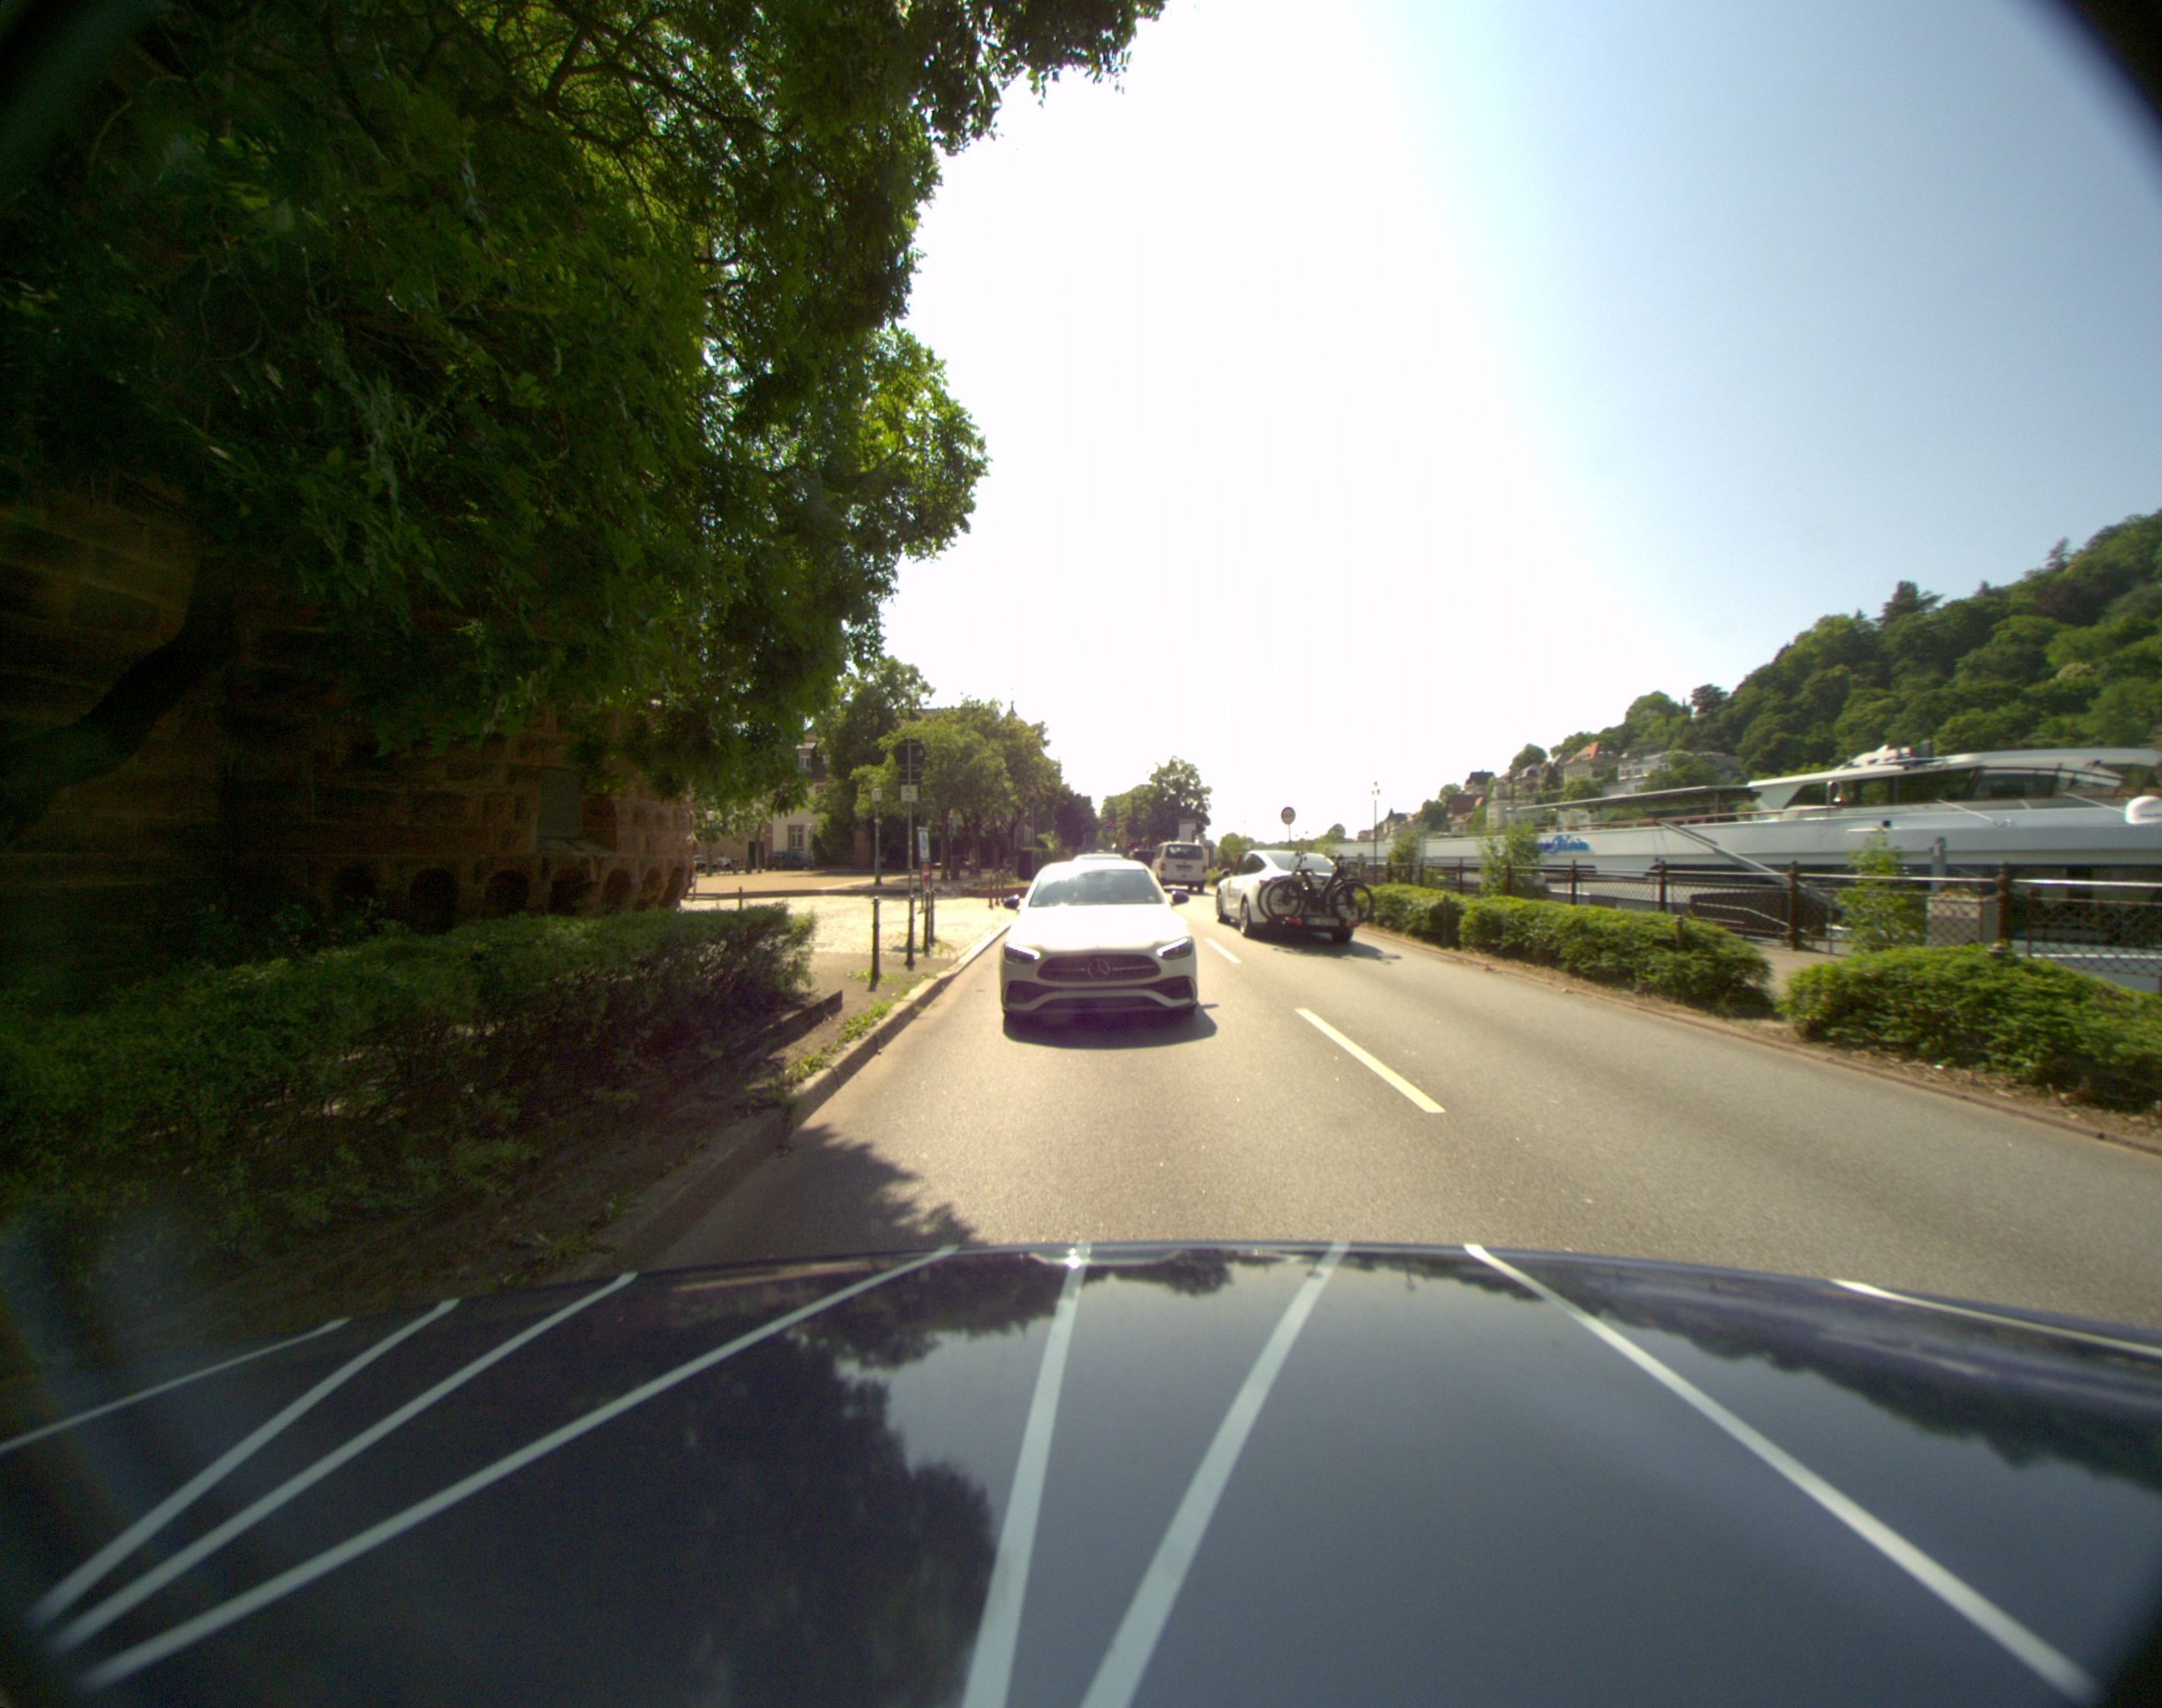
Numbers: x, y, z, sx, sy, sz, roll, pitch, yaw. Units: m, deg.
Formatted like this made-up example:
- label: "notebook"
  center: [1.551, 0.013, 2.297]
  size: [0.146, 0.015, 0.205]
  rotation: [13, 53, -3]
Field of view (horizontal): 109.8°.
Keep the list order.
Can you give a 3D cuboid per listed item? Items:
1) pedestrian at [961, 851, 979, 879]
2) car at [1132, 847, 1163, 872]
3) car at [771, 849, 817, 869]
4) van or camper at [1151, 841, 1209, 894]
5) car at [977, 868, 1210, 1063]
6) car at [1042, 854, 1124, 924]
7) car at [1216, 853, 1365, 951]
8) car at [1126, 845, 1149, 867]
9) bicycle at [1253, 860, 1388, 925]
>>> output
- label: "pedestrian"
  center: [-4.936, 0.481, 33.760]
  size: [0.632, 1.186, 0.747]
  rotation: [-2, 1, 3]
- label: "car"
  center: [4.614, 0.336, 53.224]
  size: [1.826, 1.605, 3.959]
  rotation: [2, 1, 1]
- label: "car"
  center: [-24.295, 0.410, 64.422]
  size: [3.237, 1.572, 1.752]
  rotation: [1, 0, -1]
- label: "van or camper"
  center: [3.986, 0.476, 31.052]
  size: [1.922, 1.976, 4.000]
  rotation: [1, 1, 2]
- label: "car"
  center: [0.129, 0.929, 8.228]
  size: [1.829, 1.418, 4.358]
  rotation: [-1, 0, 1]
- label: "car"
  center: [0.088, 0.802, 19.269]
  size: [1.854, 1.543, 3.848]
  rotation: [1, 0, 1]
- label: "car"
  center: [3.846, 0.801, 14.688]
  size: [1.826, 1.603, 3.960]
  rotation: [1, 0, 1]
- label: "car"
  center: [5.381, 0.169, 72.932]
  size: [1.998, 2.002, 4.000]
  rotation: [1, 0, 1]
- label: "bicycle"
  center: [3.813, 0.607, 12.233]
  size: [1.873, 0.921, 0.955]
  rotation: [-2, 1, 2]
